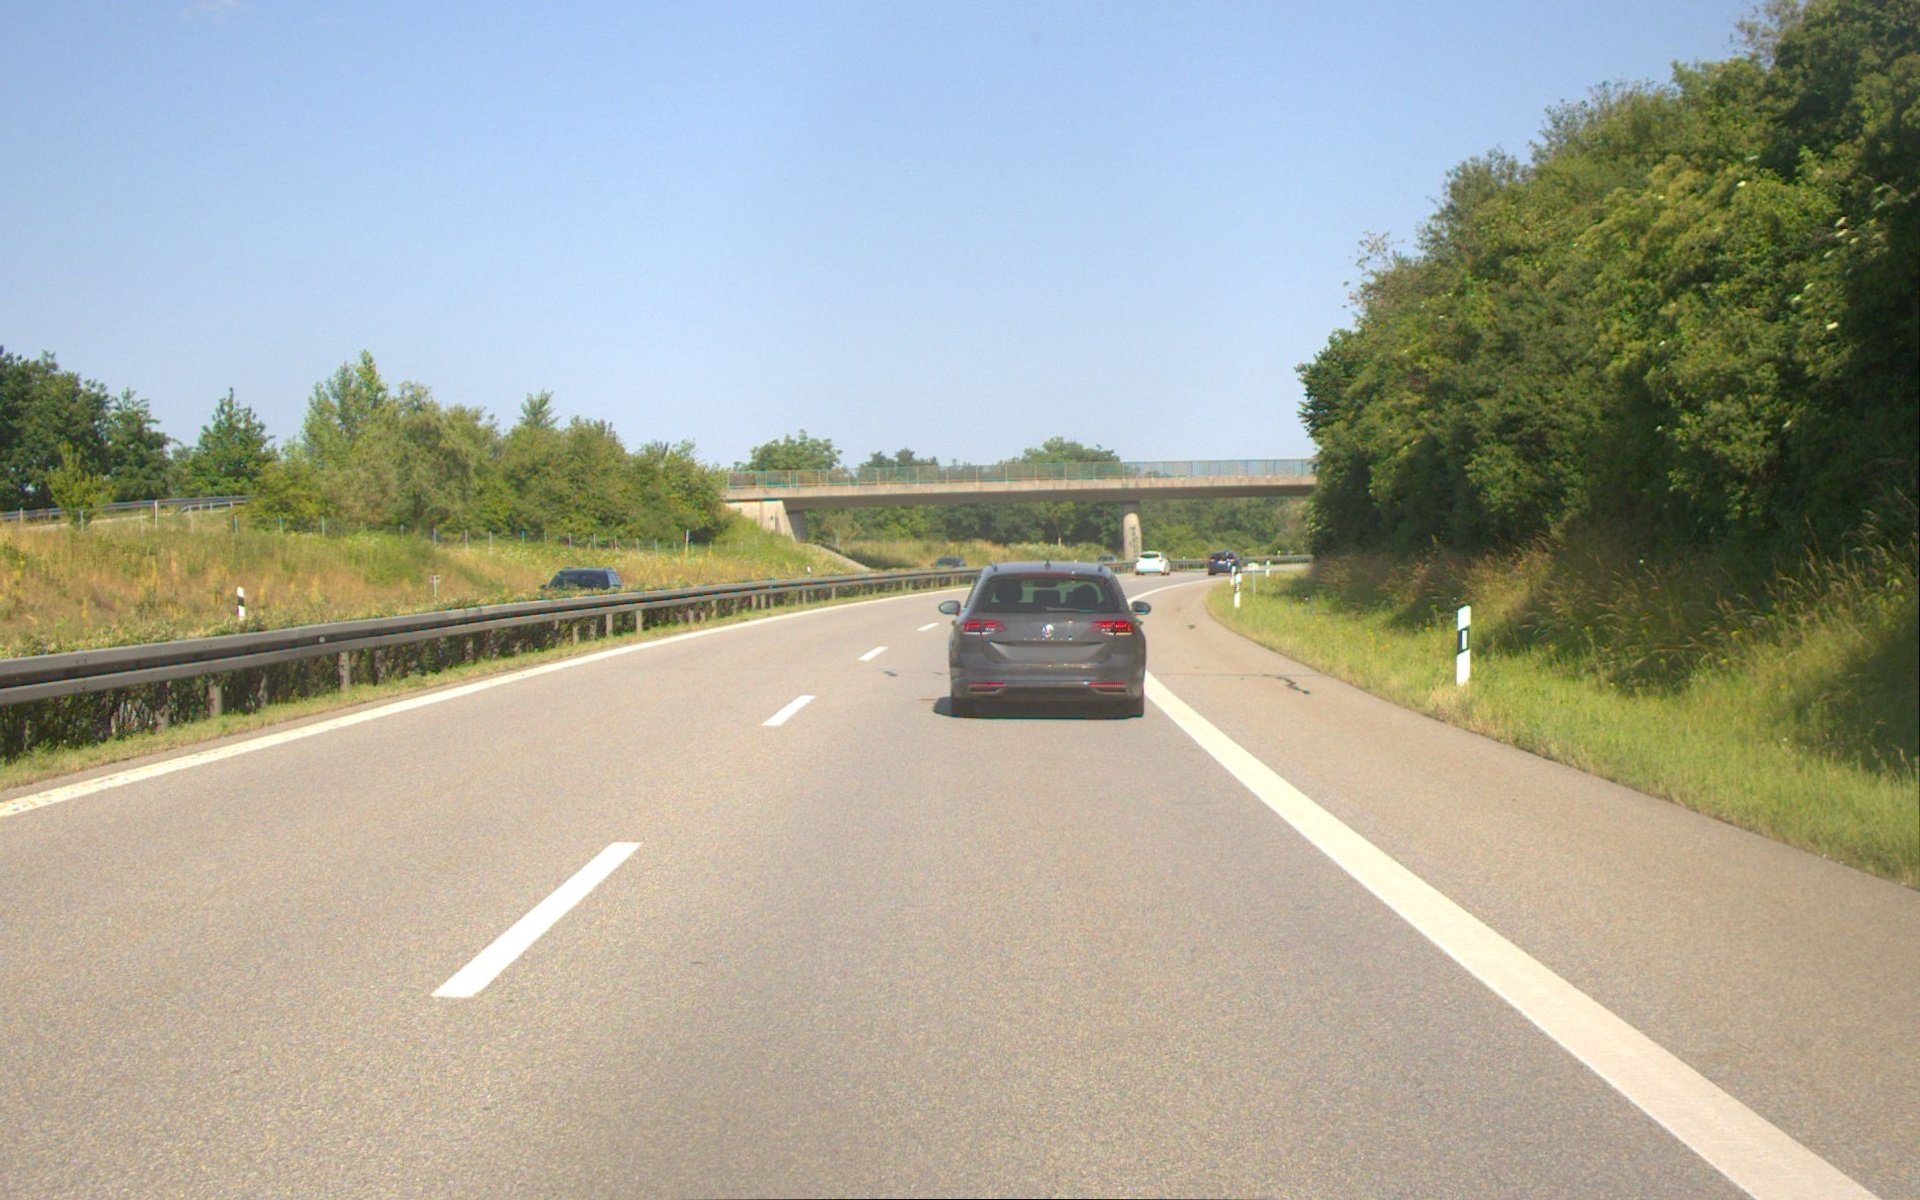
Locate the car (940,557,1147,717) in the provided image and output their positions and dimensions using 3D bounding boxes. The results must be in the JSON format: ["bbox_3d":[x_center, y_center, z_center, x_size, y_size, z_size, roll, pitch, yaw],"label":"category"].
[{"bbox_3d":[0.825,0.303,32.272,1.791,1.340,4.000,1,1,3],"label":"car"}]

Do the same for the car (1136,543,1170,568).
[{"bbox_3d":[11.521,-2.669,205.552,2.007,1.340,3.999,1,-1,3],"label":"car"}]

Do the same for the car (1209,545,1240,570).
[{"bbox_3d":[16.166,-2.586,210.043,1.710,1.382,3.355,1,-1,2],"label":"car"}]
